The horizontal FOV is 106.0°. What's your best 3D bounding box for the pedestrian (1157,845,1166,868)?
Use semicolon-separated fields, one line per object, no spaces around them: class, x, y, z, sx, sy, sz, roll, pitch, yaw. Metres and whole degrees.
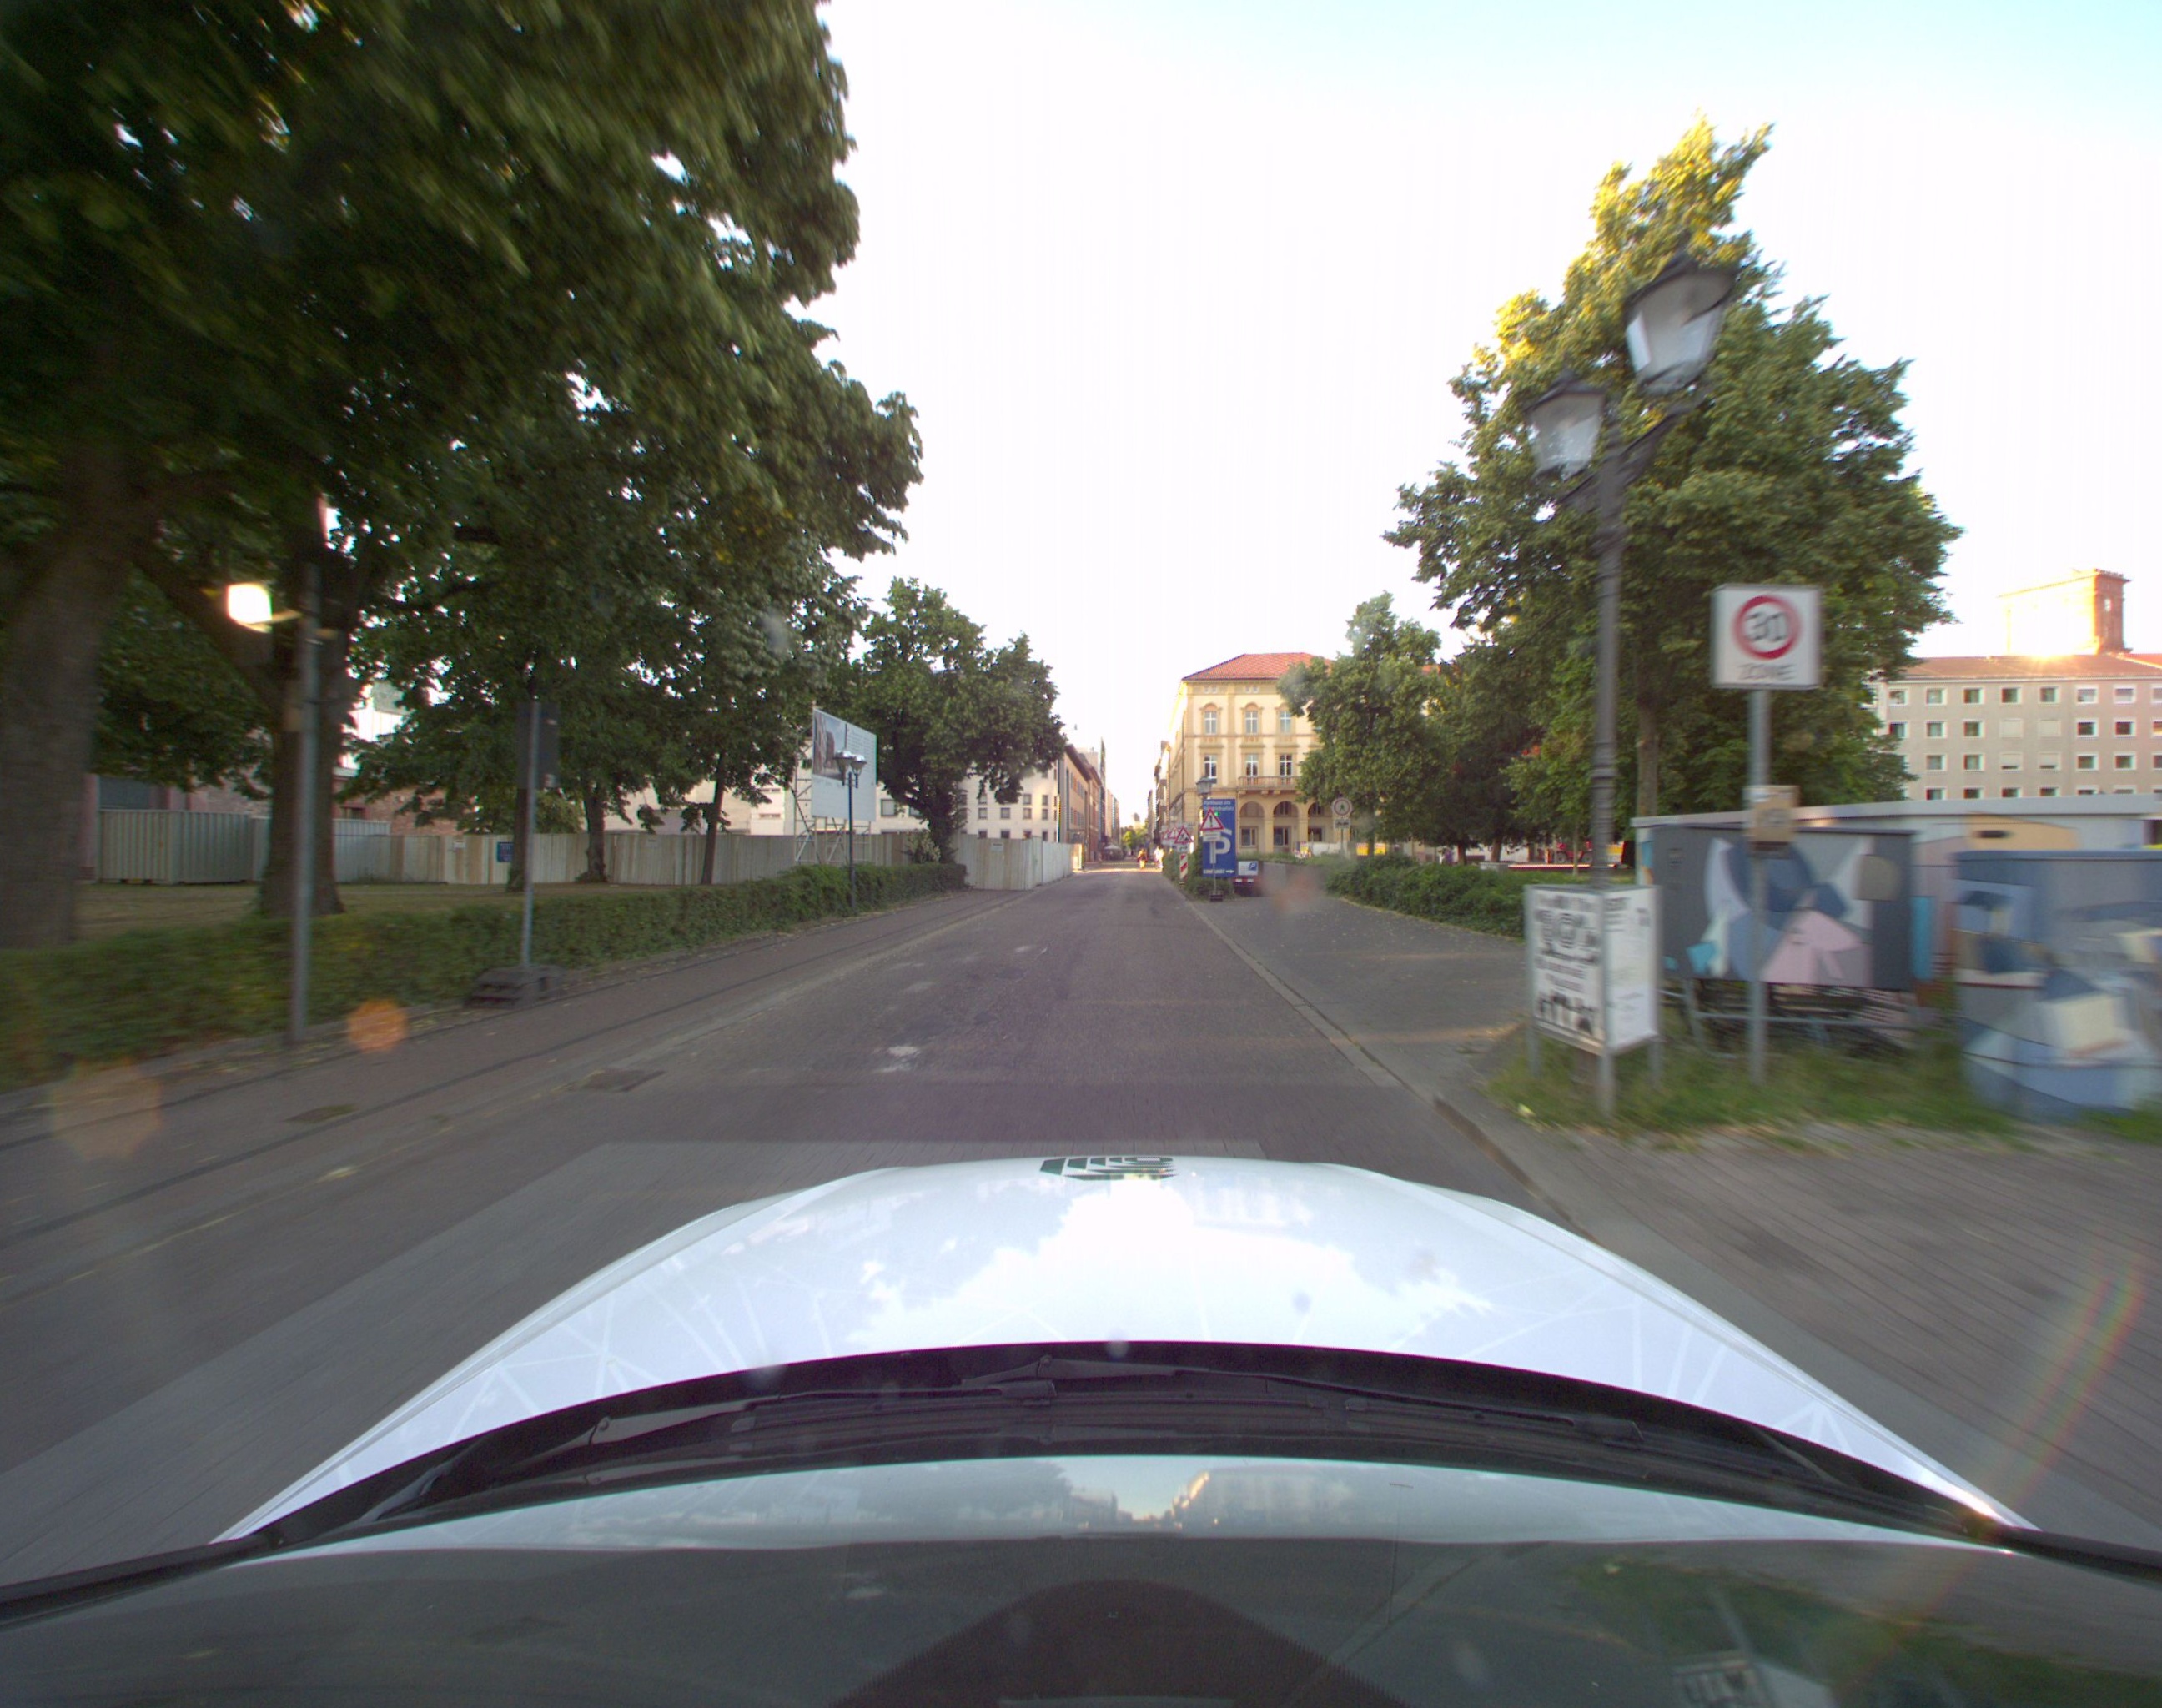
pedestrian;6.221;0.214;63.307;0.634;1.803;0.772;-1;-1;3

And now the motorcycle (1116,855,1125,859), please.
motorcycle;8.217;0.643;167.709;1.796;0.875;0.560;0;0;-1

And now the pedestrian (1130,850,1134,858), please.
pedestrian;11.416;-0.025;182.345;0.800;1.672;0.890;-1;0;5

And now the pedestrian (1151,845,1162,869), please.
pedestrian;5.979;0.217;64.818;0.808;1.875;0.875;-1;-1;2

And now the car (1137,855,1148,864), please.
car;9.683;0.838;127.650;1.642;1.427;3.539;2;0;4

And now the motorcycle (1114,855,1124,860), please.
motorcycle;7.462;0.722;159.534;1.796;1.040;0.493;0;0;-1

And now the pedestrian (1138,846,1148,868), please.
pedestrian;4.942;0.221;64.880;0.772;1.746;0.875;-1;0;2
